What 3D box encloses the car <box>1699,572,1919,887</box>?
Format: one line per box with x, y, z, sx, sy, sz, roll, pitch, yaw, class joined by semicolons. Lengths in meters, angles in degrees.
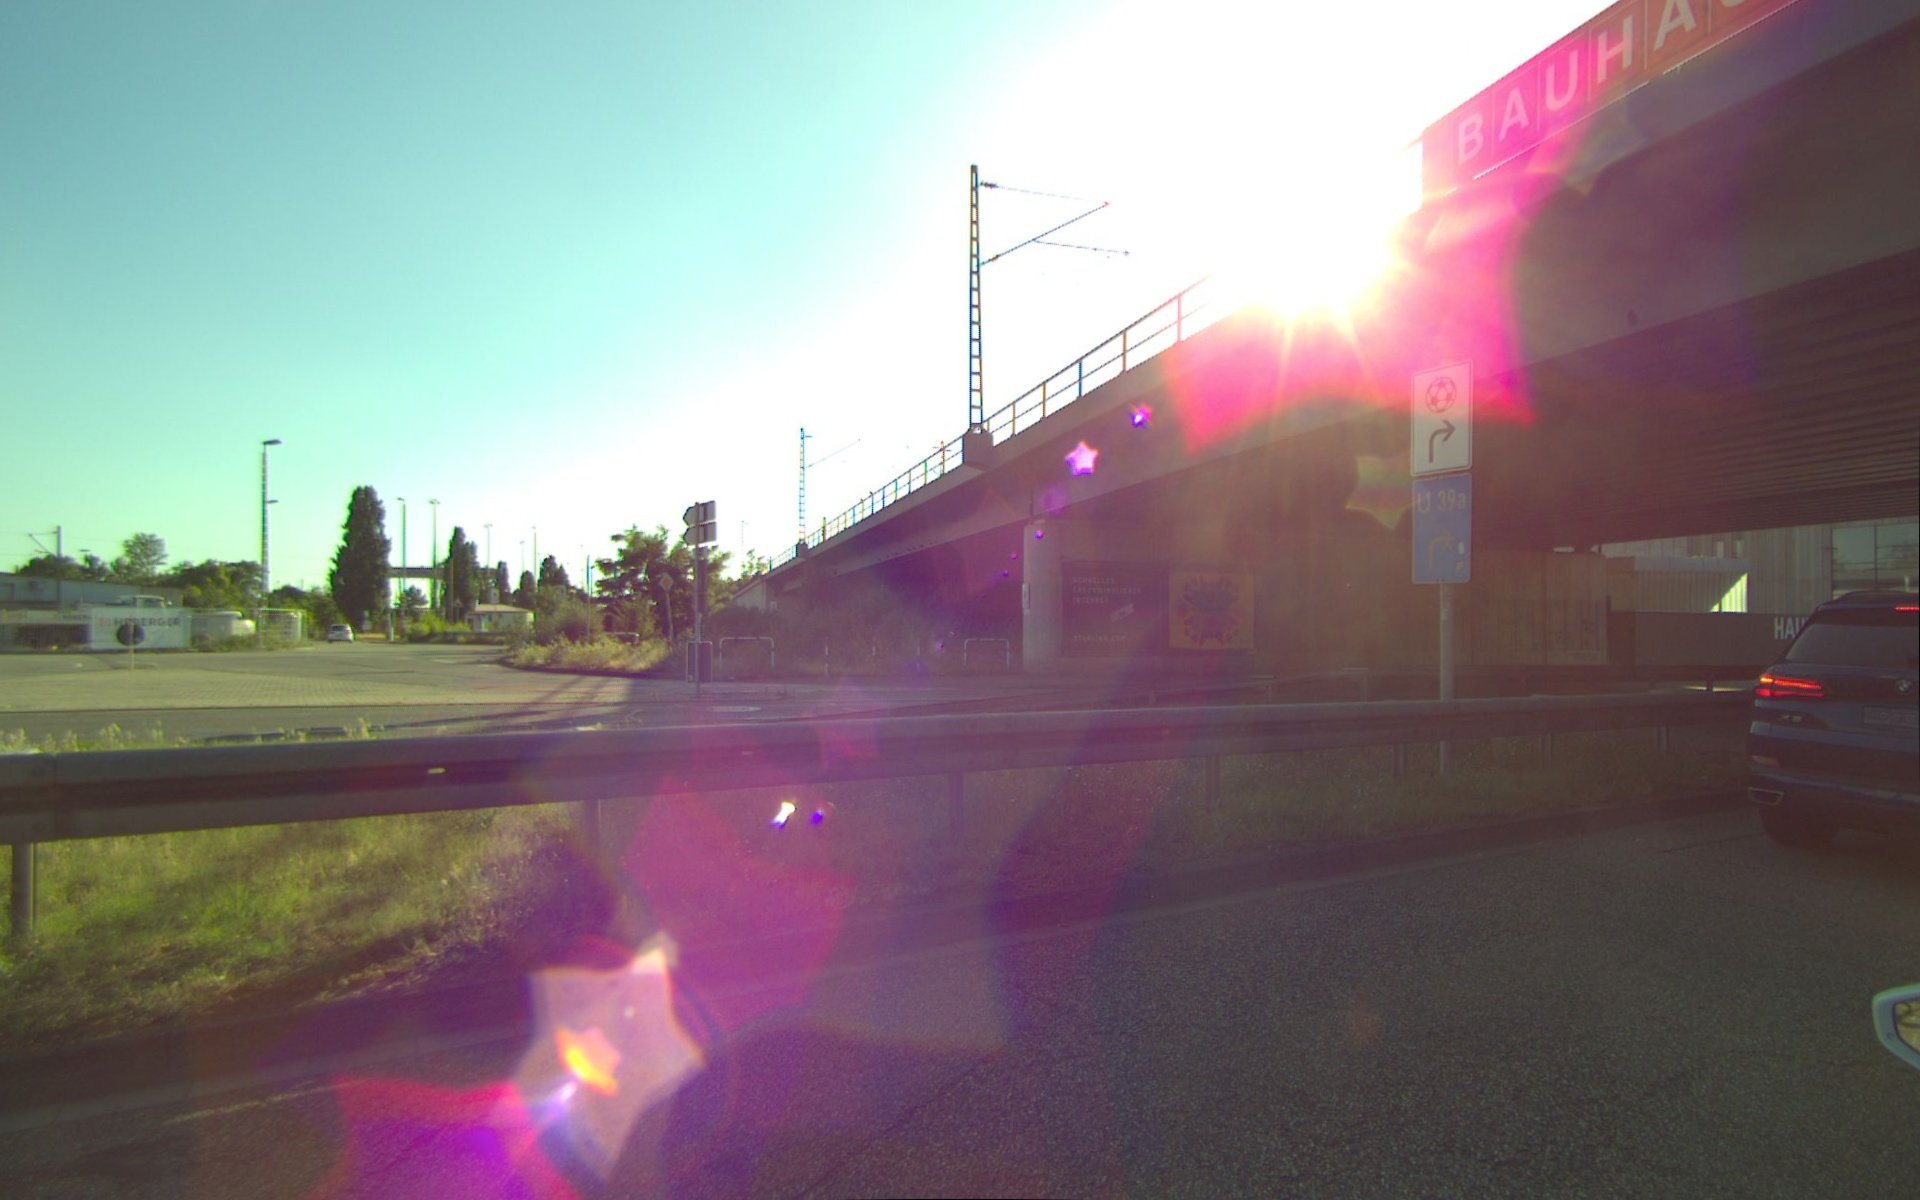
7.294;0.785;6.726;4.474;1.757;1.986;2;0;-27;car

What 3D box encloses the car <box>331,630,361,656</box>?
-54.768;3.816;89.591;1.980;2.040;3.961;2;0;-35;car
